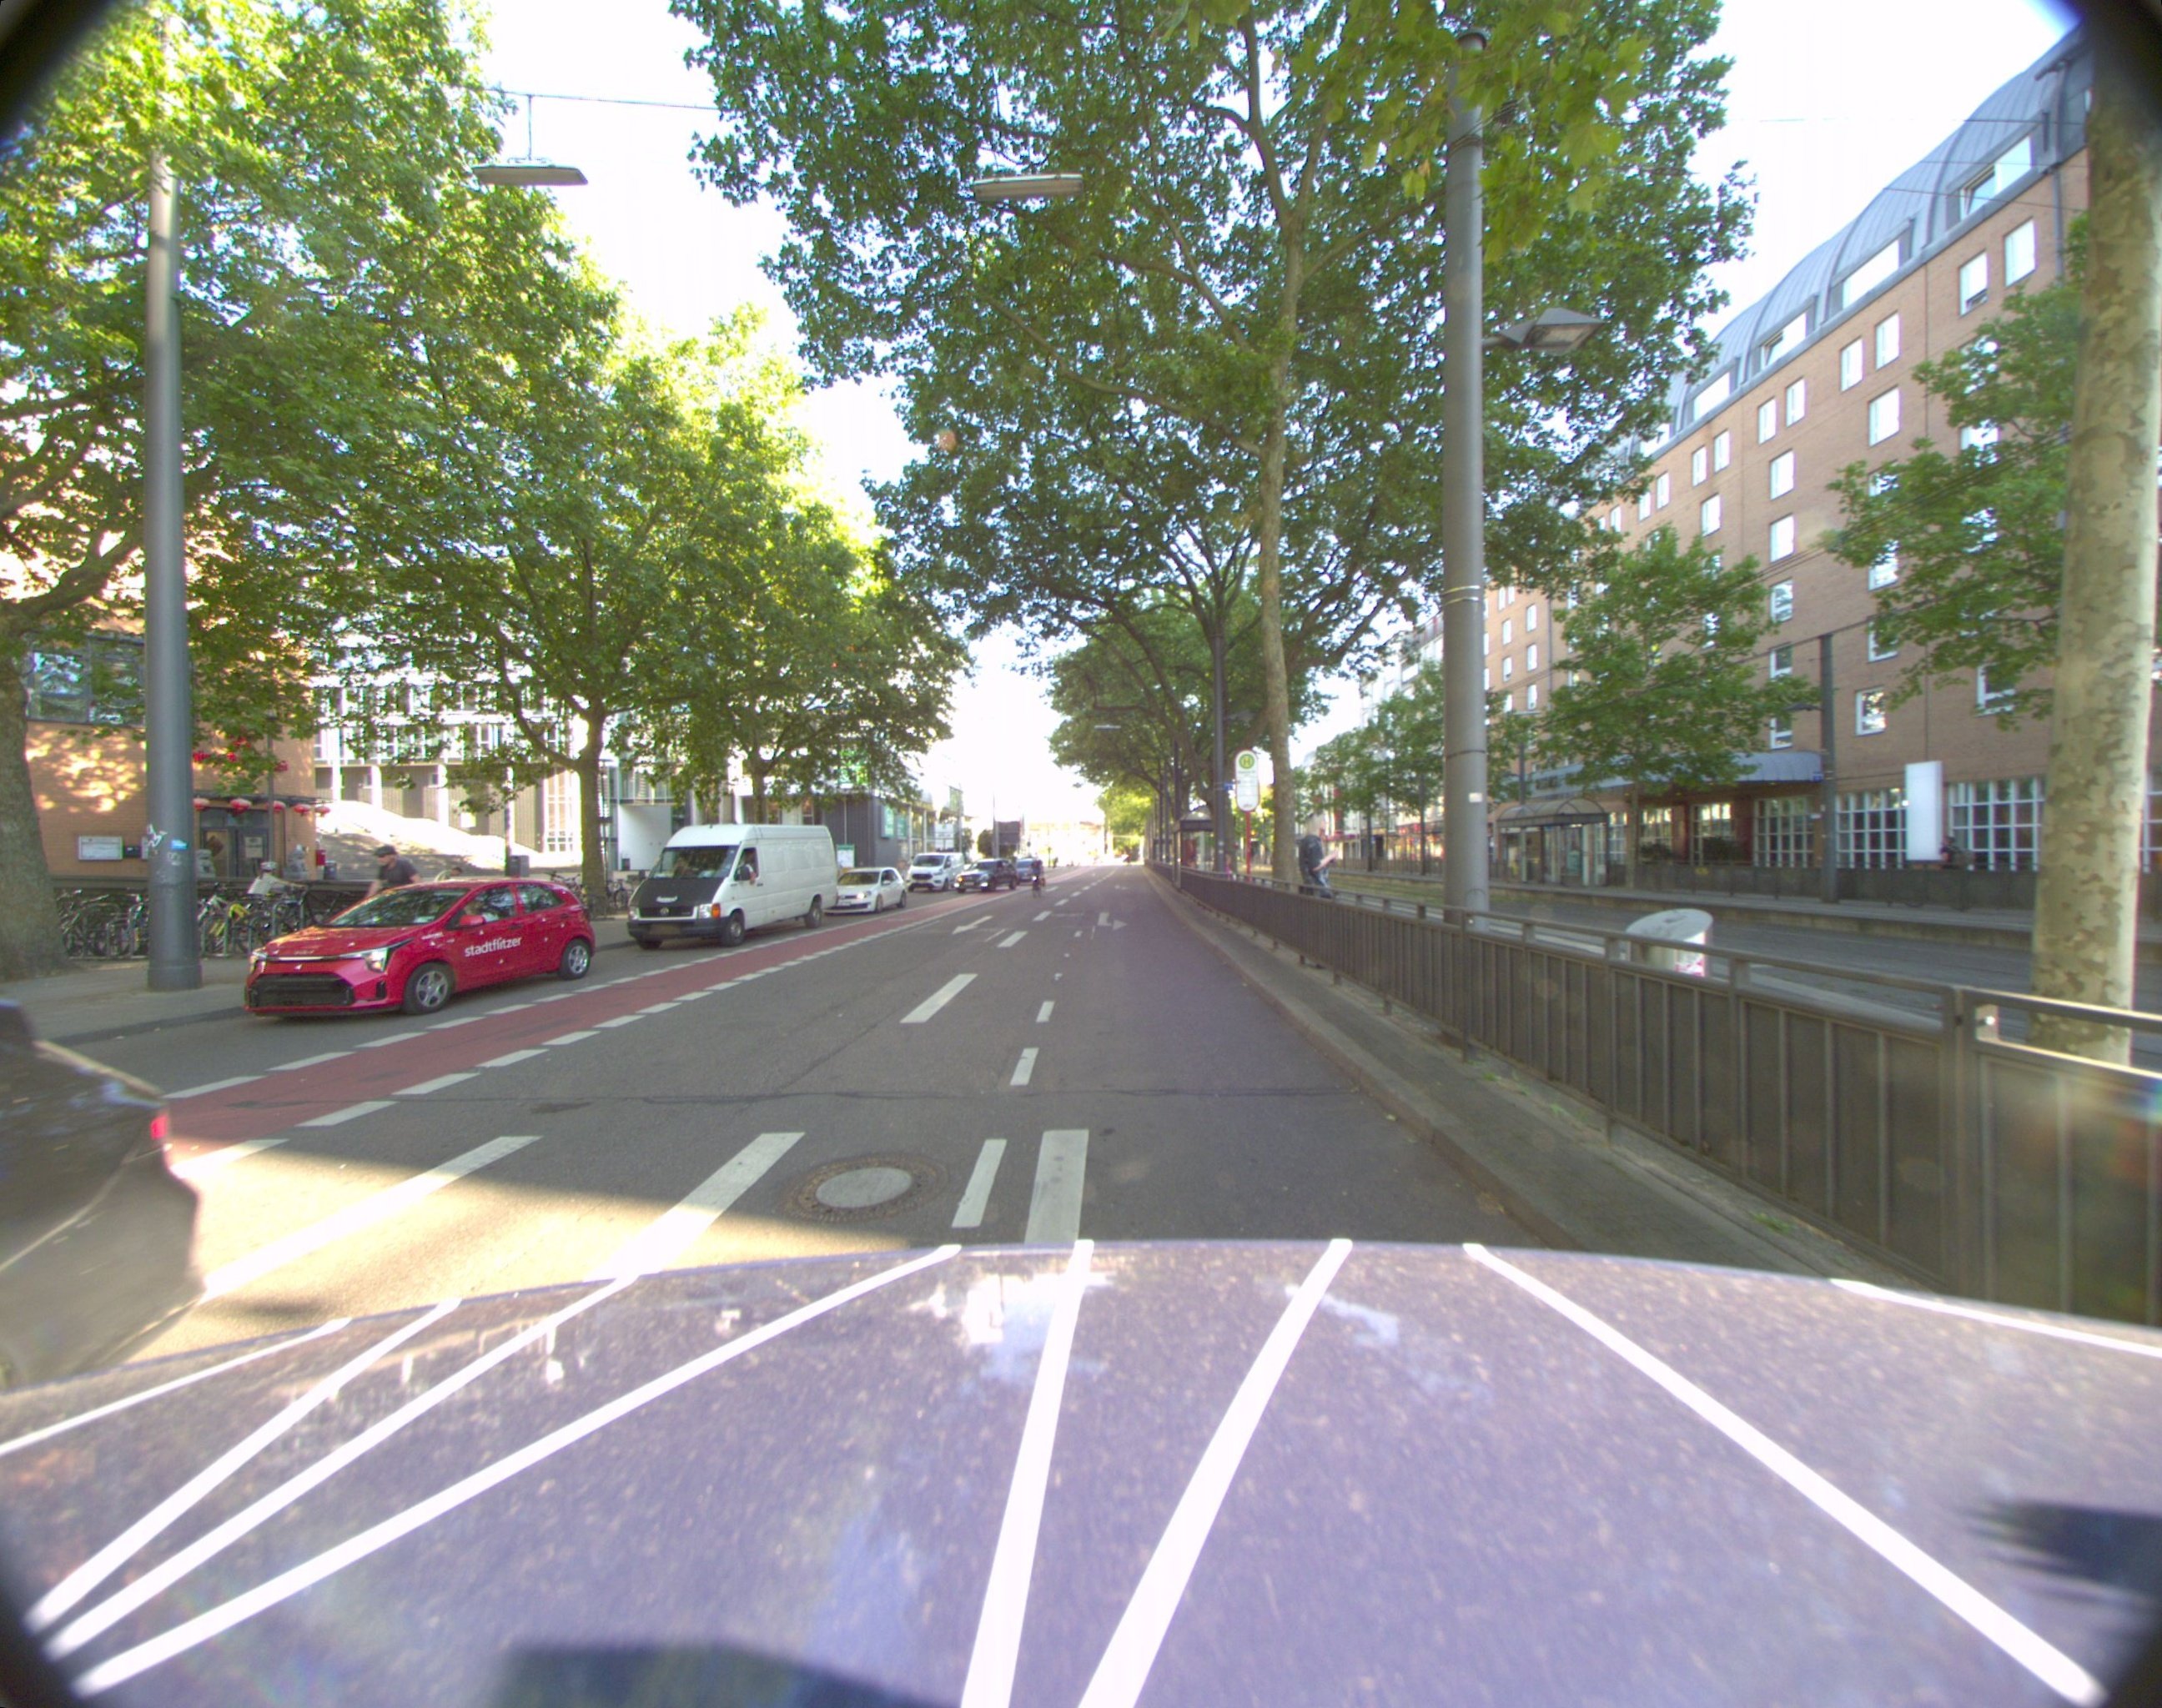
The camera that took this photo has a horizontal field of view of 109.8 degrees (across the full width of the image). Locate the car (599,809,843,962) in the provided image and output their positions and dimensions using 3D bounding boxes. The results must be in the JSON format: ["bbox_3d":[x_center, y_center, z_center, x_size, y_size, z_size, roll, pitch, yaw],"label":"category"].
[{"bbox_3d":[-7.570,0.560,17.069,1.998,2.708,6.562,-2,0,2],"label":"car"}]

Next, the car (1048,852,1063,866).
[{"bbox_3d":[-3.662,0.749,111.245,1.999,1.856,3.999,-2,1,-1],"label":"car"}]

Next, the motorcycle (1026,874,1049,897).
[{"bbox_3d":[-1.787,1.295,31.746,0.667,0.843,2.223,0,0,4],"label":"motorcycle"}]

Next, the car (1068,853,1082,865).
[{"bbox_3d":[-0.865,0.686,112.257,1.998,1.681,3.999,-2,1,1],"label":"car"}]

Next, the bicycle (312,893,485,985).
[{"bbox_3d":[-9.998,1.196,11.260,0.551,1.114,2.127,0,0,3],"label":"bicycle"}]

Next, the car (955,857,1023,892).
[{"bbox_3d":[-4.545,0.997,38.079,1.783,1.628,4.027,0,0,19],"label":"car"}]

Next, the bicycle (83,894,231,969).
[{"bbox_3d":[-15.918,1.298,13.153,0.503,1.130,1.655,0,0,1],"label":"bicycle"}]

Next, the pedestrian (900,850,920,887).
[{"bbox_3d":[-9.511,0.817,42.180,0.808,2.002,0.665,-2,1,7],"label":"pedestrian"}]

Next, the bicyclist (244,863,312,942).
[{"bbox_3d":[-16.967,1.003,16.069,0.823,1.607,0.562,-1,1,-27],"label":"bicyclist"}]

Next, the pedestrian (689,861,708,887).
[{"bbox_3d":[-21.431,1.111,42.582,0.712,1.447,0.601,0,1,4],"label":"pedestrian"}]

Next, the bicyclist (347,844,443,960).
[{"bbox_3d":[-10.216,0.692,11.335,0.752,1.678,0.715,0,1,5],"label":"bicyclist"}]

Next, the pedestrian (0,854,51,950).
[{"bbox_3d":[-19.993,0.870,13.939,0.788,1.747,1.020,0,1,6],"label":"pedestrian"}]

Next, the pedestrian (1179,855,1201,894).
[{"bbox_3d":[3.992,0.748,27.835,0.735,1.379,0.640,-2,1,6],"label":"pedestrian"}]

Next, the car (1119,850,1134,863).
[{"bbox_3d":[6.680,0.413,112.142,1.958,1.760,3.999,-2,1,1],"label":"car"}]

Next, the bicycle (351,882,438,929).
[{"bbox_3d":[-17.756,1.308,19.702,0.596,1.119,1.656,0,0,9],"label":"bicycle"}]

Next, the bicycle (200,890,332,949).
[{"bbox_3d":[-17.106,1.346,16.002,1.781,1.119,0.566,-1,1,-27],"label":"bicycle"}]

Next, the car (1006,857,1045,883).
[{"bbox_3d":[-3.475,0.977,48.015,1.759,1.565,4.002,0,0,6],"label":"car"}]

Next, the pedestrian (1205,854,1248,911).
[{"bbox_3d":[3.740,0.733,19.594,0.979,1.392,0.664,-2,1,6],"label":"pedestrian"}]

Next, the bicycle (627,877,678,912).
[{"bbox_3d":[-13.792,1.295,24.500,0.597,1.041,1.655,0,0,4],"label":"bicycle"}]

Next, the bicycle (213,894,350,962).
[{"bbox_3d":[-13.845,1.253,13.224,0.597,1.026,1.655,0,0,1],"label":"bicycle"}]

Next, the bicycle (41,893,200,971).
[{"bbox_3d":[-16.466,1.302,13.094,0.479,1.153,1.694,0,0,5],"label":"bicycle"}]

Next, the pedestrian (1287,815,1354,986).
[{"bbox_3d":[2.782,0.518,8.881,0.511,1.889,0.760,-2,1,2],"label":"pedestrian"}]

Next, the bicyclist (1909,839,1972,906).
[{"bbox_3d":[23.279,0.485,20.596,0.752,1.775,0.852,0,1,4],"label":"bicyclist"}]

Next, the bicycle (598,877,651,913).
[{"bbox_3d":[-14.674,1.307,24.483,0.597,1.041,1.655,0,0,4],"label":"bicycle"}]

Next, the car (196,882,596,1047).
[{"bbox_3d":[-7.955,1.168,9.355,1.562,1.455,3.621,-2,0,1],"label":"car"}]

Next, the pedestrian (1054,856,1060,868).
[{"bbox_3d":[-3.164,1.025,100.413,0.753,1.565,0.912,-1,1,6],"label":"pedestrian"}]

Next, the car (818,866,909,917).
[{"bbox_3d":[-7.036,1.182,24.961,1.671,1.455,3.869,0,0,3],"label":"car"}]

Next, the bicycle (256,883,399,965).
[{"bbox_3d":[-13.149,1.173,13.347,0.597,1.257,1.876,0,0,1],"label":"bicycle"}]

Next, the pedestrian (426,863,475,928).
[{"bbox_3d":[-16.103,1.043,19.418,0.718,1.622,0.636,0,1,7],"label":"pedestrian"}]

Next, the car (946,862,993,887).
[{"bbox_3d":[-6.750,1.220,46.508,1.784,1.411,4.024,0,0,7],"label":"car"}]

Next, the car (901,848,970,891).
[{"bbox_3d":[-7.602,0.771,40.322,2.127,2.121,5.292,0,0,6],"label":"car"}]

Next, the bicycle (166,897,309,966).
[{"bbox_3d":[-14.560,1.305,13.182,0.597,1.026,1.655,0,0,1],"label":"bicycle"}]

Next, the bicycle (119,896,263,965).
[{"bbox_3d":[-15.341,1.293,13.161,0.503,1.026,1.655,0,0,1],"label":"bicycle"}]

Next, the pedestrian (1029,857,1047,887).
[{"bbox_3d":[-1.782,0.733,31.612,0.665,1.218,0.775,0,1,4],"label":"pedestrian"}]

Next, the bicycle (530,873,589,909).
[{"bbox_3d":[-16.210,1.140,23.658,0.597,1.041,1.655,0,0,4],"label":"bicycle"}]
